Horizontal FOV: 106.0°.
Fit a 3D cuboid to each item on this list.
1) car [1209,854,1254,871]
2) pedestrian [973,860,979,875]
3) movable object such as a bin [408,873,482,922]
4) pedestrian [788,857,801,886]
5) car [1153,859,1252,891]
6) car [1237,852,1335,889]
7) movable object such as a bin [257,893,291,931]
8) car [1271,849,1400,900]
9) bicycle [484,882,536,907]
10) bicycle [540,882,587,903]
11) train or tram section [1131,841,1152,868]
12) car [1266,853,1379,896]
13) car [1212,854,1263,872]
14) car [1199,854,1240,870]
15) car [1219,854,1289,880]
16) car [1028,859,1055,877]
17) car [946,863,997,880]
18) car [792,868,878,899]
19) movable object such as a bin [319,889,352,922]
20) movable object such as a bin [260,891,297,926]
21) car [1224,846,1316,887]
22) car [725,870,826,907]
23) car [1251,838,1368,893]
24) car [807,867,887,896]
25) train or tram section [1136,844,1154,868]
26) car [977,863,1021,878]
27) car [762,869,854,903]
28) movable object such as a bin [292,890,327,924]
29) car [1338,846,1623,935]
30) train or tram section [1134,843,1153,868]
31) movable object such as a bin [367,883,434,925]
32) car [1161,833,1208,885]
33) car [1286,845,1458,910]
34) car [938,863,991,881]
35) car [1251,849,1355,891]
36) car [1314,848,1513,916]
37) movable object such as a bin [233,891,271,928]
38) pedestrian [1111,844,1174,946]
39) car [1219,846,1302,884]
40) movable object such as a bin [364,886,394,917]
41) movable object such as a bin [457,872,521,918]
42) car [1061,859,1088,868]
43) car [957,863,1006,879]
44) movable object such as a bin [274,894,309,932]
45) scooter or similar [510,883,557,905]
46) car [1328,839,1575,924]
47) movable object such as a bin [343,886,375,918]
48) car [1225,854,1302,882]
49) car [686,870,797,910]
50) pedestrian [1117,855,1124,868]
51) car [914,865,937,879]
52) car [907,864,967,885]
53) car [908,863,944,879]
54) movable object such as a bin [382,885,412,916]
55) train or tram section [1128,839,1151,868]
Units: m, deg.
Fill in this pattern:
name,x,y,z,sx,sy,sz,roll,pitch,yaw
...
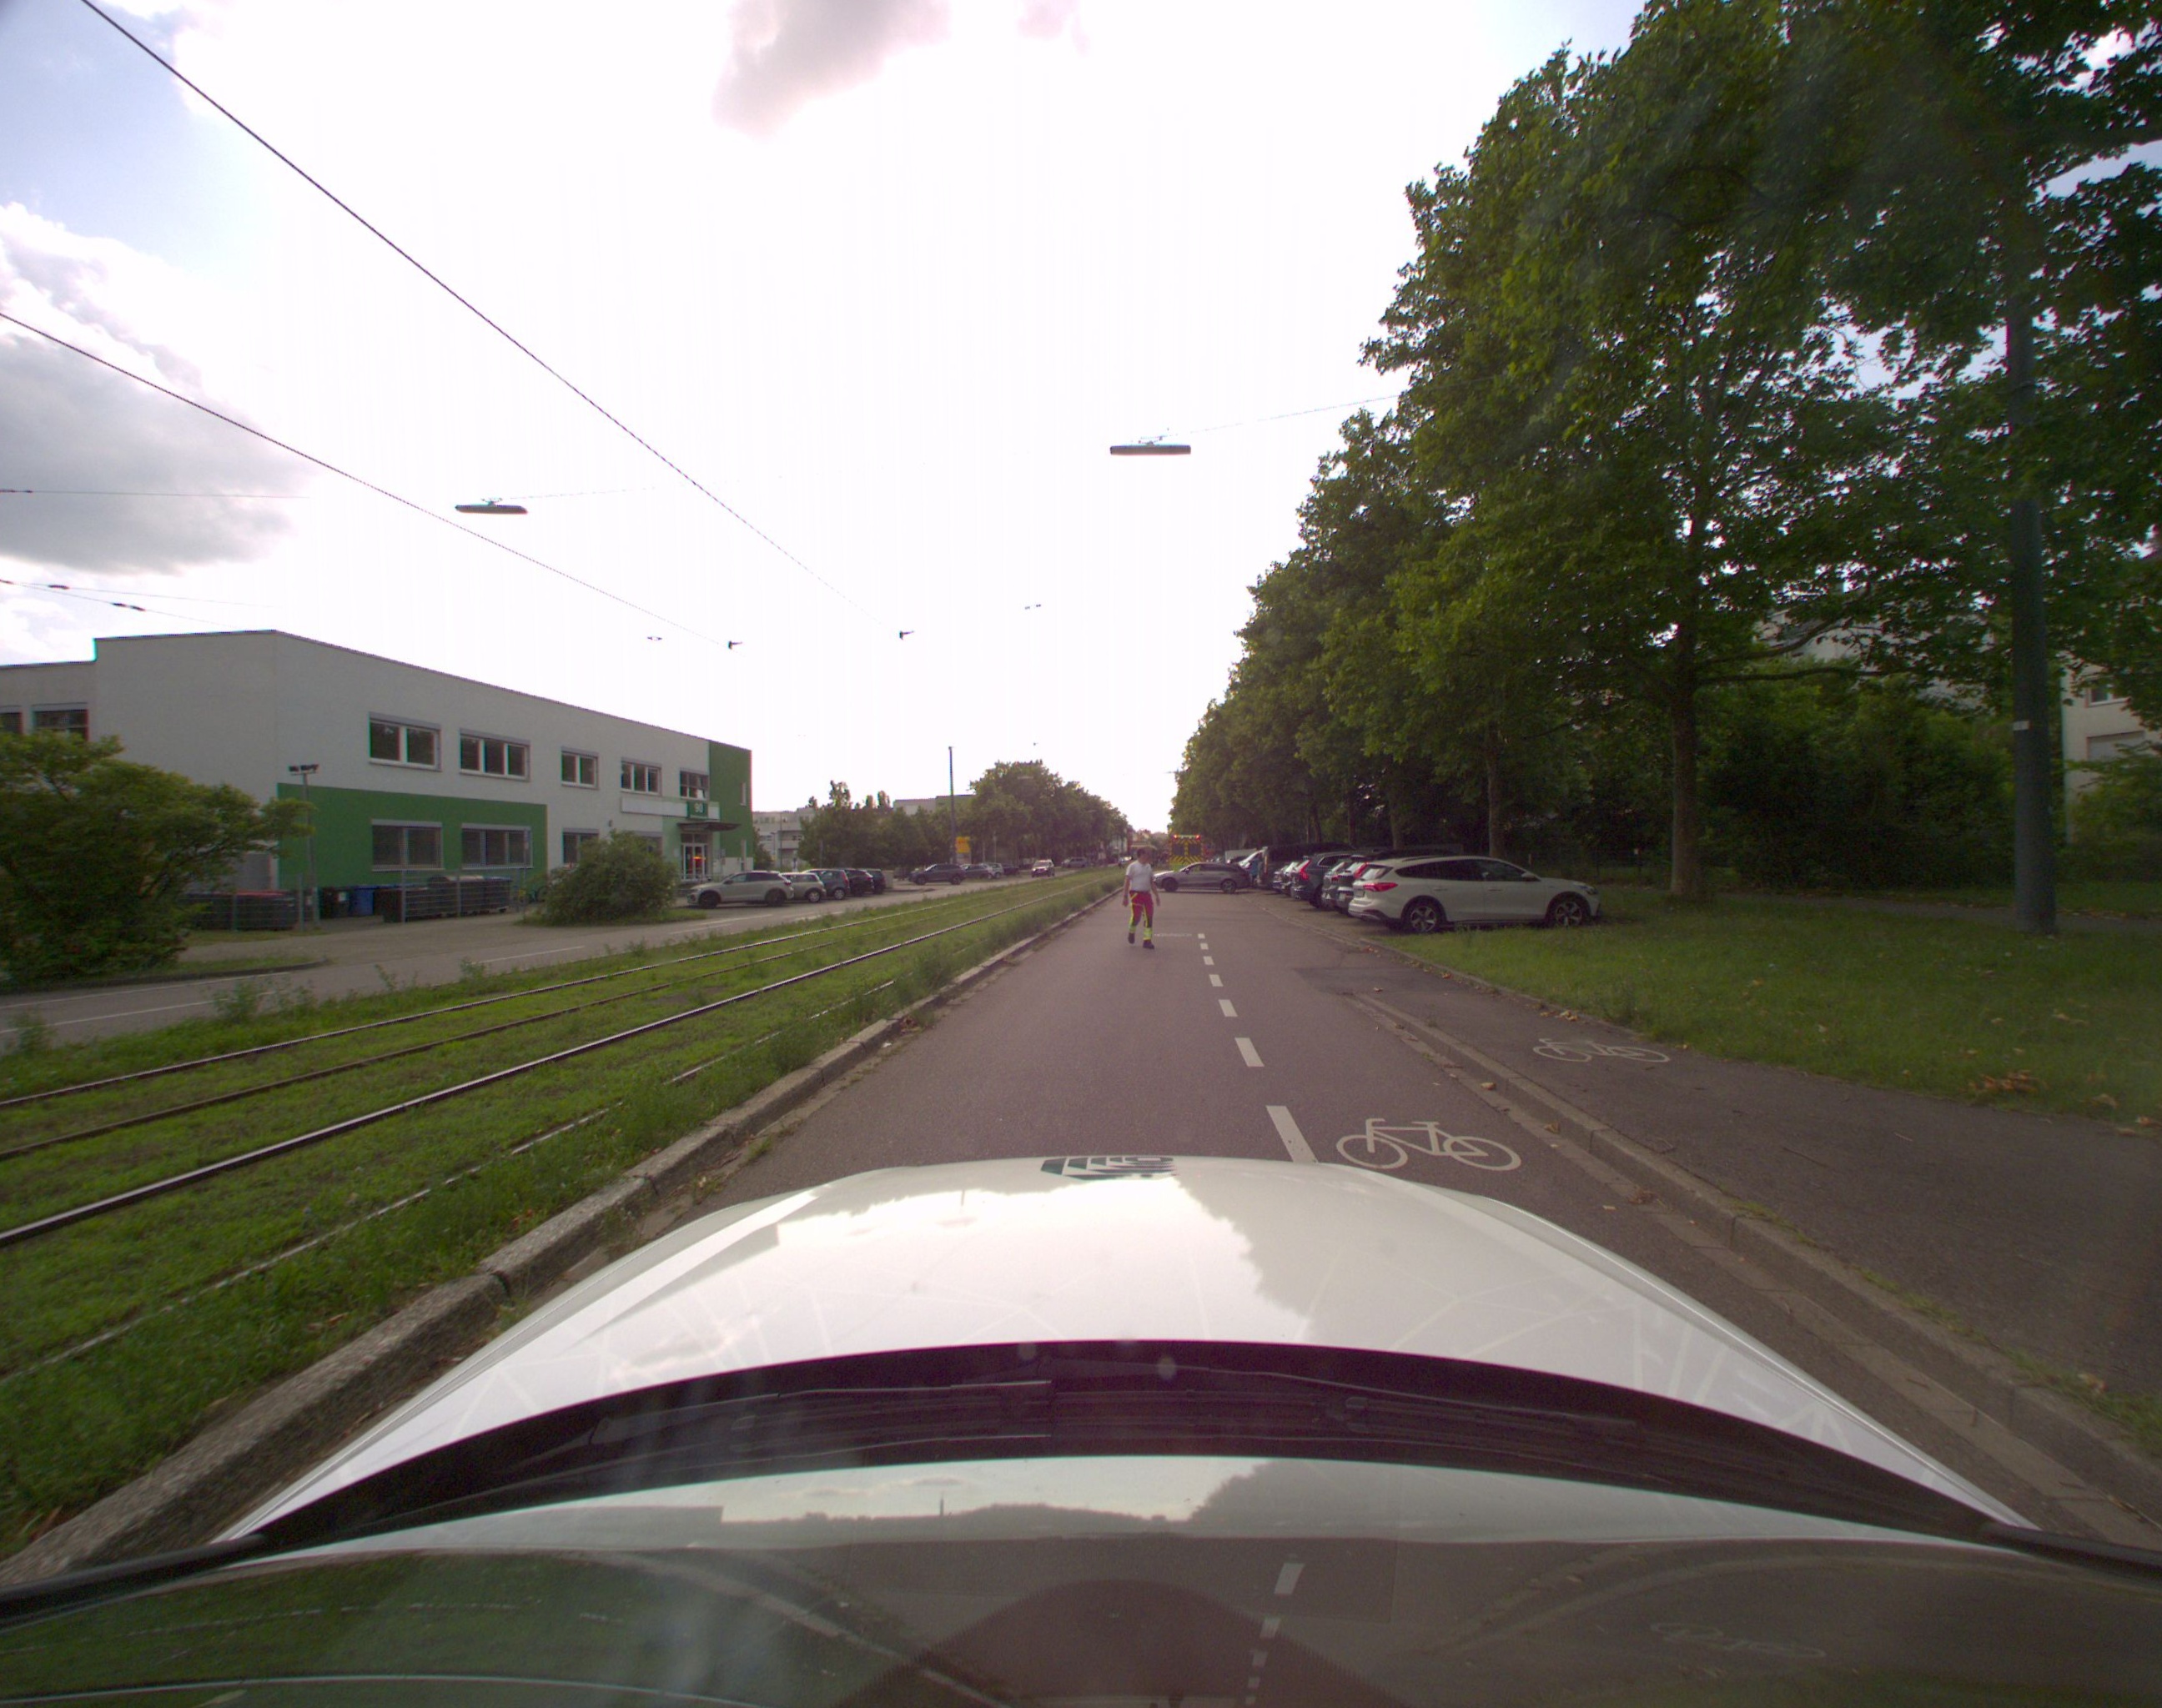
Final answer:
name,x,y,z,sx,sy,sz,roll,pitch,yaw
car,16.279,0.932,88.279,4.527,1.608,1.857,-2,-1,2
pedestrian,-12.169,1.566,94.234,0.464,1.677,0.604,-2,-1,5
movable object such as a bin,-21.288,1.427,27.295,1.000,1.519,1.716,0,1,9
pedestrian,-18.296,1.091,52.039,0.543,1.828,0.509,-2,-1,4
car,5.723,0.953,38.135,4.422,1.385,1.773,0,0,13
car,10.362,0.838,41.385,4.528,1.660,1.857,-2,-1,2
movable object such as a bin,-22.923,1.647,23.144,0.491,1.042,0.480,0,0,7
car,9.004,0.703,28.980,3.958,1.605,1.753,-2,-1,-4
bicycle,-23.204,1.641,33.092,1.848,0.986,0.459,0,-1,7
bicycle,-22.939,1.699,36.105,1.848,0.899,0.459,0,-1,7
train or tram section,8.615,0.106,115.249,2.499,3.584,7.457,-3,-1,6
car,9.383,0.799,31.854,3.945,1.494,1.759,-2,-1,6
car,15.052,0.870,78.485,4.527,1.608,1.857,-2,-1,2
car,16.413,0.954,96.564,4.527,1.608,1.857,-2,-1,2
car,12.067,0.905,57.082,4.527,1.608,1.857,-2,-1,2
car,-3.917,1.367,80.823,1.983,1.558,4.377,-3,0,6
car,-10.032,1.585,74.343,4.247,1.482,1.865,0,-1,-29
car,-13.287,1.572,43.947,4.239,1.482,1.869,-2,0,-23
movable object such as a bin,-24.585,1.683,26.847,0.565,1.042,0.565,0,0,7
movable object such as a bin,-24.798,1.686,25.177,0.565,1.042,0.565,0,0,7
car,10.135,0.674,43.969,4.527,2.001,1.857,-2,-1,2
car,-14.188,1.573,37.870,4.239,1.482,1.869,-2,0,-23
car,9.705,0.508,34.891,4.523,2.123,1.859,-2,-1,6
car,-13.495,1.567,46.962,4.239,1.482,1.869,-2,0,-23
train or tram section,10.309,0.392,130.050,2.499,3.584,7.457,-3,-1,6
car,-8.622,1.722,85.516,4.251,1.482,1.864,0,-1,-33
car,-13.723,1.595,40.878,4.239,1.482,1.869,-2,0,-23
movable object such as a bin,-24.710,1.686,26.088,0.565,1.042,0.565,0,0,7
car,7.662,0.682,15.984,4.639,1.473,1.849,-2,0,2
train or tram section,9.459,0.249,122.658,2.499,3.584,7.457,-3,-1,6
movable object such as a bin,-21.522,1.570,25.771,1.000,1.234,1.259,0,1,9
car,6.546,0.326,51.043,2.626,2.966,6.314,1,0,8
car,8.235,0.676,23.409,4.356,1.639,1.760,-2,-1,8
car,-10.227,1.585,71.449,4.247,1.482,1.865,0,-1,-29
car,10.504,0.738,38.817,4.523,1.766,1.859,-2,-1,6
car,8.318,0.702,20.720,4.356,1.501,1.760,-2,0,8
movable object such as a bin,-24.869,1.663,24.442,0.565,1.042,0.565,0,0,7
pedestrian,1.052,0.682,14.073,0.806,1.686,0.846,0,-1,-19
car,10.631,0.640,48.546,4.527,2.043,1.857,-2,-1,2
movable object such as a bin,-24.363,1.649,28.266,0.565,1.042,0.565,0,0,7
movable object such as a bin,-21.040,1.430,28.977,1.000,1.519,1.608,0,1,9
car,-1.165,1.772,149.744,4.645,1.633,1.864,-1,-1,-33
car,-9.434,1.632,77.336,4.247,1.482,1.865,0,-1,-29
movable object such as a bin,-22.370,1.675,23.079,0.502,1.042,0.483,0,0,7
scooter or similar,-23.250,1.711,34.600,1.726,0.899,0.459,0,-1,7
car,8.116,0.587,18.189,4.639,1.626,1.849,-2,0,2
movable object such as a bin,-24.473,1.636,27.619,0.565,1.042,0.565,0,0,7
car,11.604,0.895,51.935,4.527,1.608,1.857,-2,-1,2
car,-14.544,1.507,34.940,4.245,1.482,1.866,-2,0,-28
pedestrian,5.019,0.960,103.586,0.876,1.525,0.752,0,-1,6
car,-21.124,2.460,110.893,1.983,1.750,4.007,0,0,7
car,-10.833,1.528,61.298,4.233,1.482,1.872,0,-1,-18
car,-18.289,1.972,96.018,3.948,1.750,2.013,0,0,38
movable object such as a bin,-24.284,1.643,28.926,0.565,1.042,0.565,0,0,7
train or tram section,7.781,-0.037,107.852,2.499,3.584,7.457,-3,-1,6
